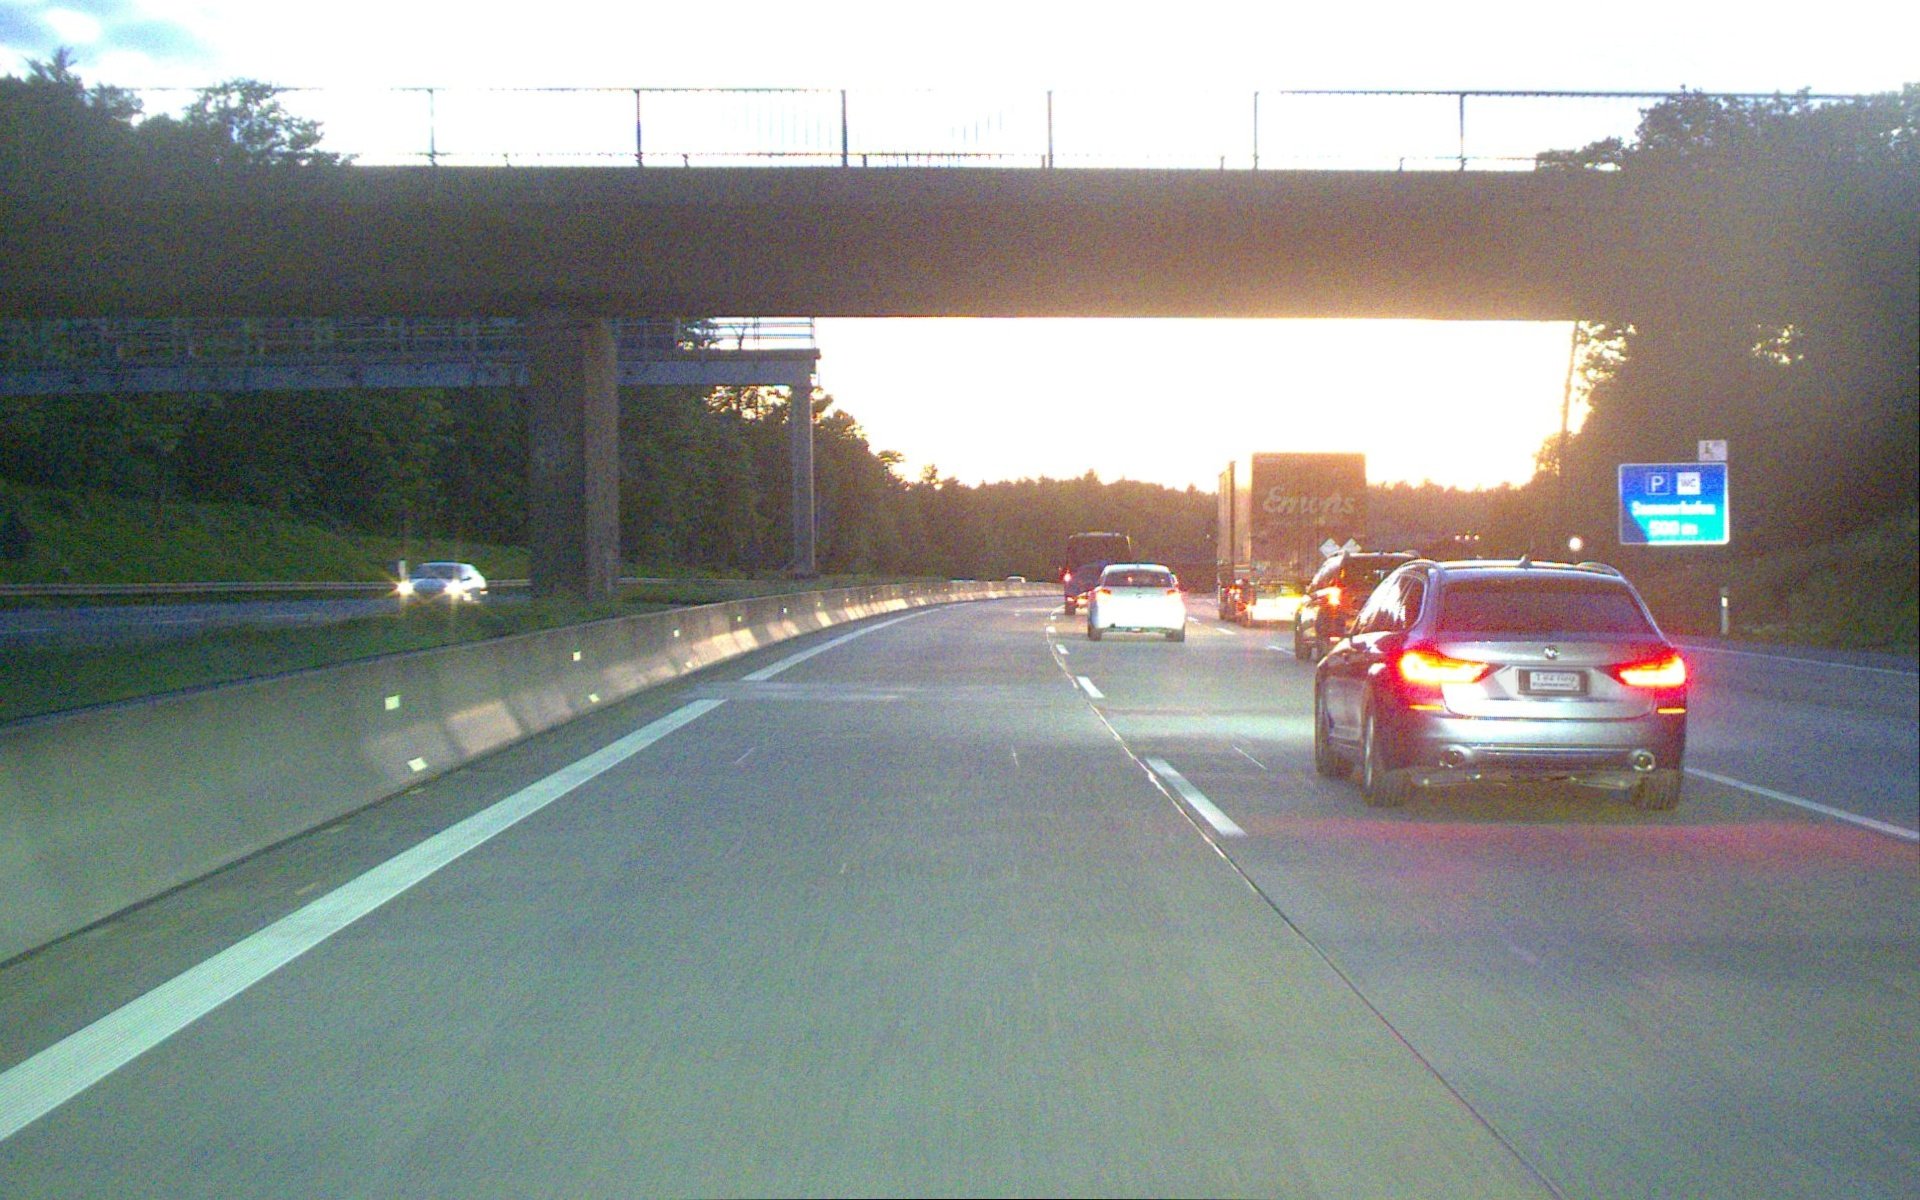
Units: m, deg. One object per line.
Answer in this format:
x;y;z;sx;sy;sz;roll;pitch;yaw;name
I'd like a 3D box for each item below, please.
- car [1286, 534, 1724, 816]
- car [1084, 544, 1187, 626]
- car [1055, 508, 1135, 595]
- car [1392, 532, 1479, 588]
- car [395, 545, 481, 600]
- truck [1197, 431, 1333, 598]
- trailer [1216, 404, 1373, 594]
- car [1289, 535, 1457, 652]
3.306;0.371;21.911;1.909;1.532;5.232;0;2;-1;car
3.280;-0.308;64.949;1.859;1.437;3.720;0;2;2;car
3.948;-1.377;99.982;2.166;2.411;5.563;0;0;4;car
12.617;-1.040;91.403;1.859;1.437;4.111;0;0;2;car
-15.110;-0.815;99.681;1.811;1.515;4.430;0;2;0;car
8.021;-2.150;91.642;2.885;4.087;10.831;1;0;1;truck
7.769;-2.236;81.093;2.907;4.087;10.357;1;0;1;trailer
6.062;-0.110;50.965;1.903;1.638;5.052;0;1;0;car
